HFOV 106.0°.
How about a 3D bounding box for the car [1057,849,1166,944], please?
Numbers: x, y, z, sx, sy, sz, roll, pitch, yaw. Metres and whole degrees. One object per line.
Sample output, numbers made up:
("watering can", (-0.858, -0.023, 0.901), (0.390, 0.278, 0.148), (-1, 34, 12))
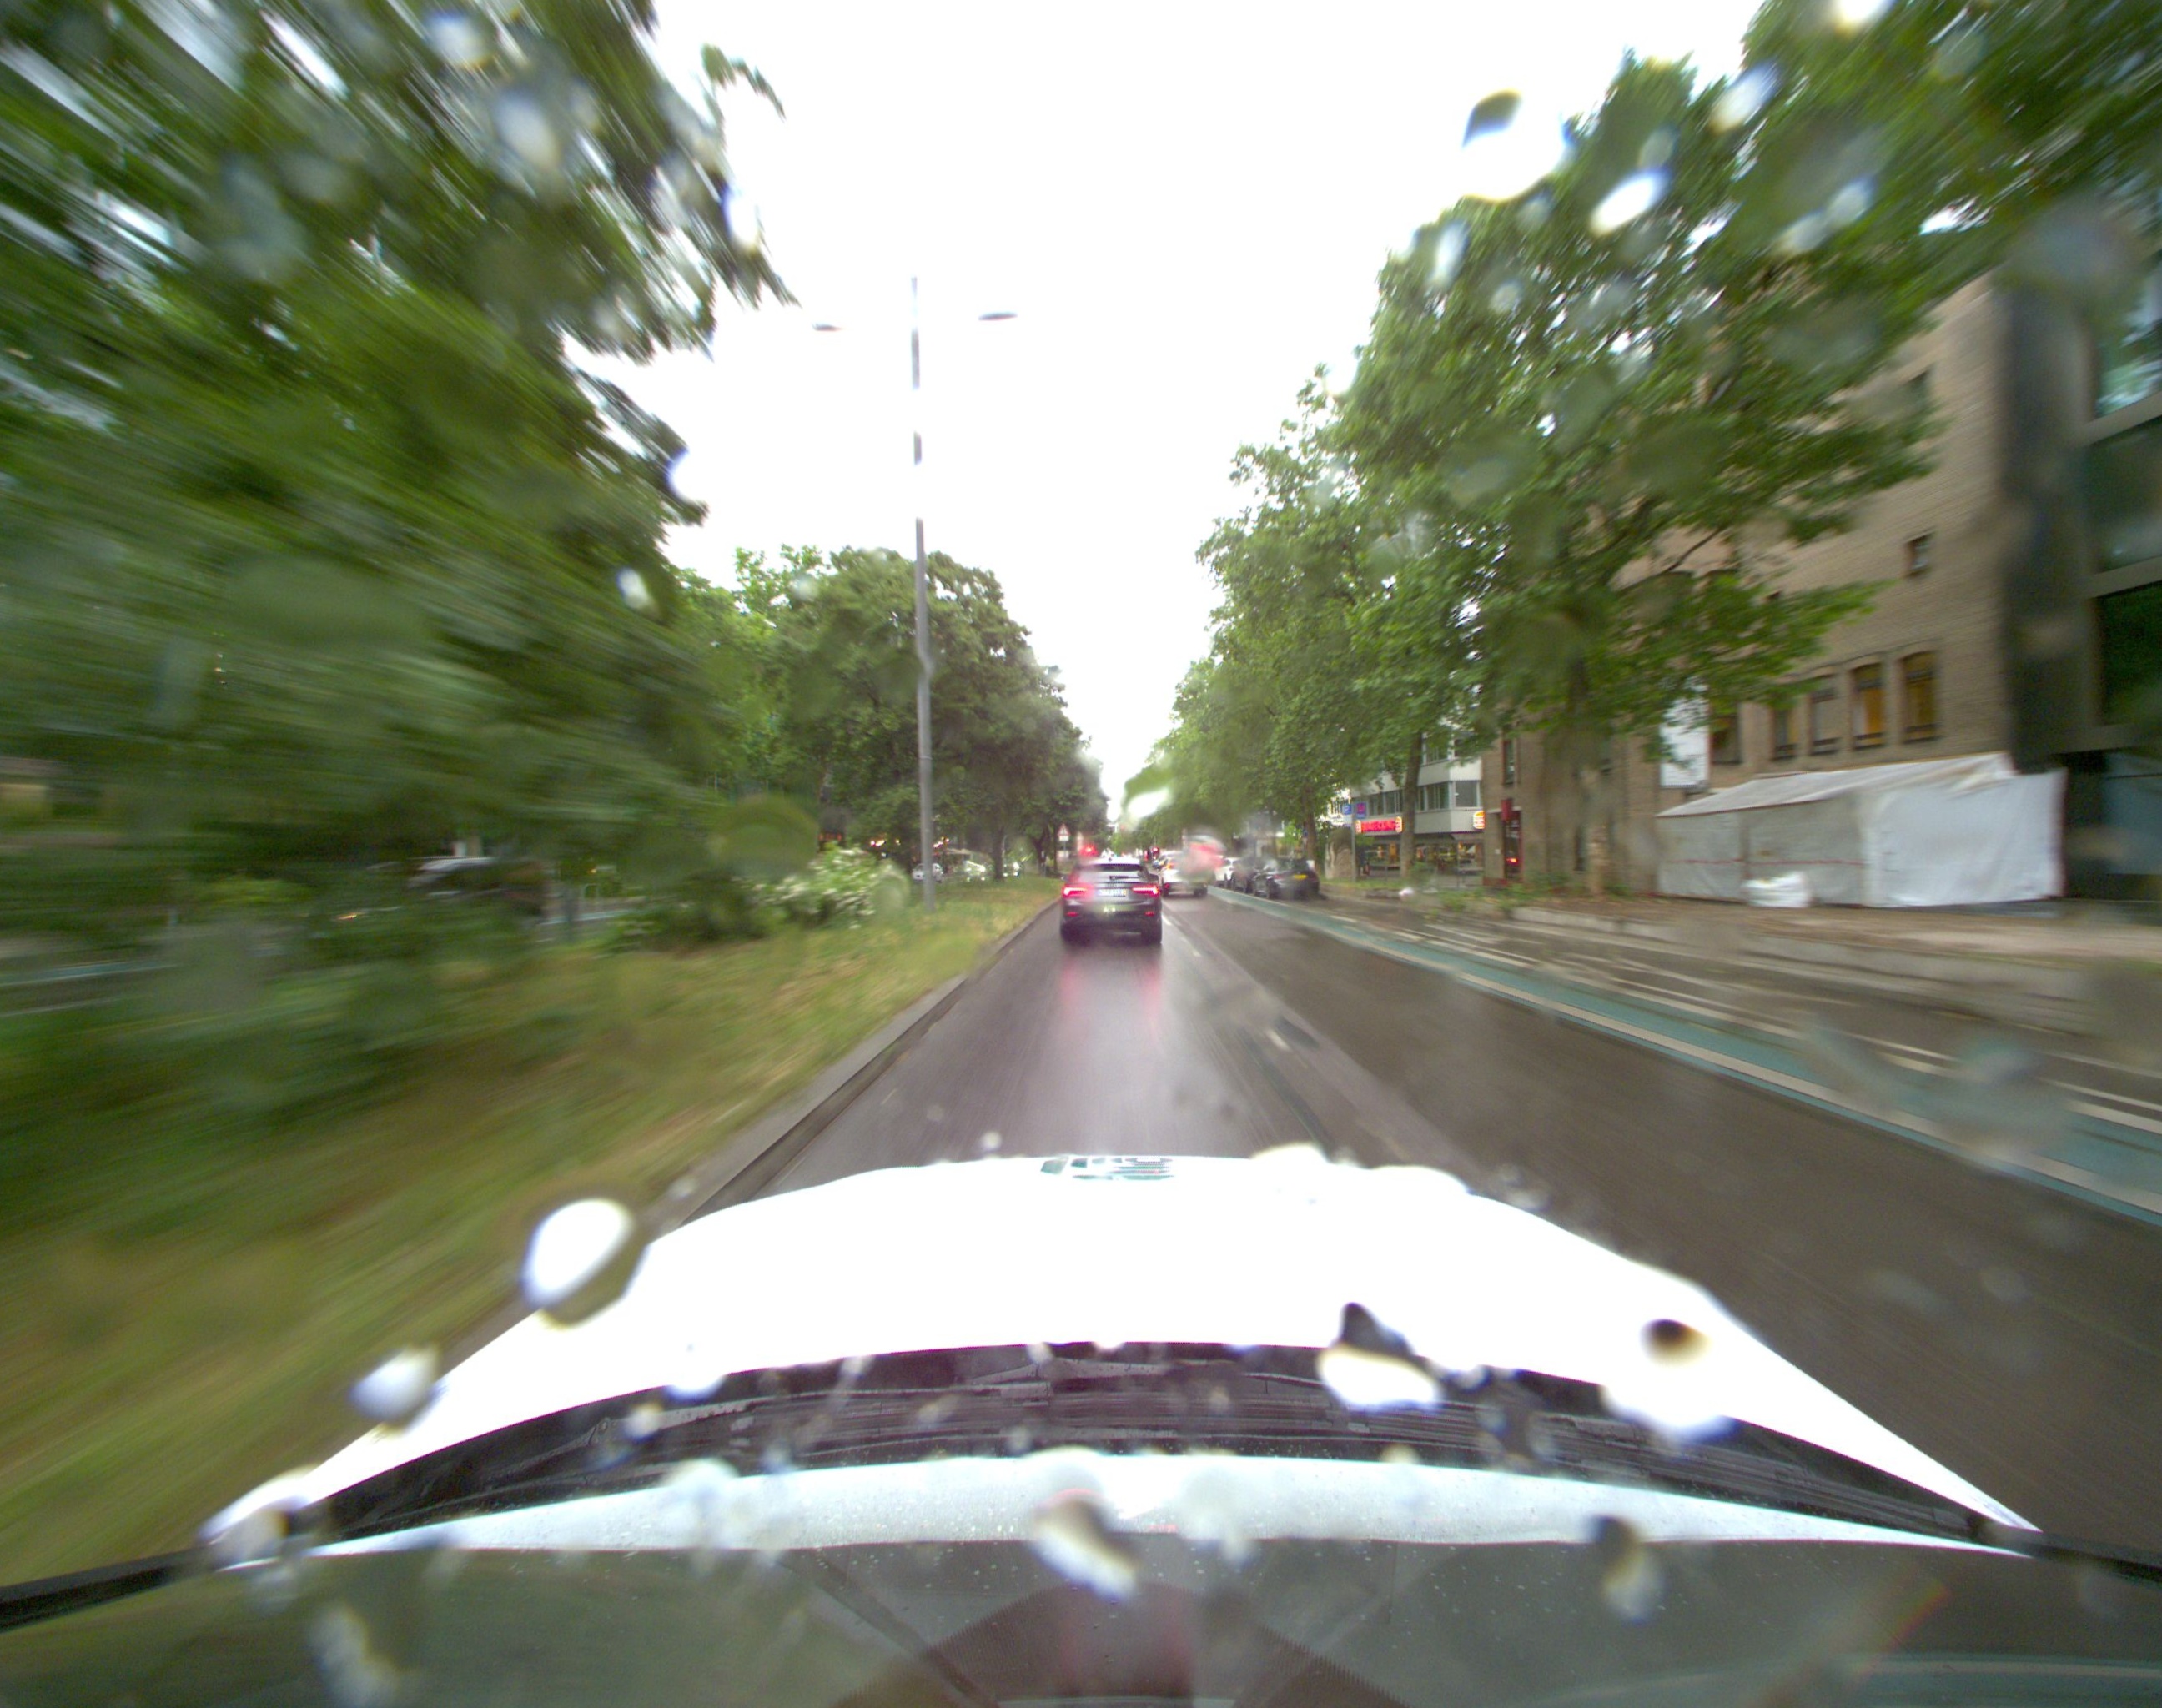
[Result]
("car", (0.546, 0.731, 15.829), (1.843, 1.602, 4.000), (0, -1, 1))

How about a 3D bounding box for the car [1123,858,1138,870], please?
("car", (6.896, 1.363, 114.822), (1.986, 1.651, 4.001), (1, -1, 2))

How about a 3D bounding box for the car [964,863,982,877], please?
("car", (-10.641, 1.573, 80.590), (1.687, 1.258, 3.636), (1, -1, -6))

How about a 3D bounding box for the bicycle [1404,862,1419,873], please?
("bicycle", (25.454, 1.015, 62.708), (0.446, 0.836, 2.027), (1, -1, 2))

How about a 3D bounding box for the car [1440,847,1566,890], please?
("car", (11.263, 0.370, 21.752), (2.856, 1.074, 1.465), (0, -1, 32))

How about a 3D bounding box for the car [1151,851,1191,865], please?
("car", (11.555, 0.532, 104.346), (4.594, 1.706, 2.012), (0, -1, 29))

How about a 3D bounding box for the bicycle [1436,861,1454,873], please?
("bicycle", (25.475, 0.922, 57.062), (0.446, 0.836, 2.027), (1, -1, 2))

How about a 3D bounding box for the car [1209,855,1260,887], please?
("car", (8.004, 0.870, 42.781), (1.723, 1.571, 4.069), (1, -1, -3))

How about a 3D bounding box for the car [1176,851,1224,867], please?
("car", (12.627, 0.527, 86.524), (4.594, 1.706, 2.012), (0, -1, 29))

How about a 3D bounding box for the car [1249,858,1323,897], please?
("car", (8.009, 0.882, 32.265), (1.866, 1.421, 4.612), (1, -1, 1))

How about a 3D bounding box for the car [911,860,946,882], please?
("car", (-10.835, 1.209, 58.027), (1.642, 1.435, 3.814), (-1, -1, 3))

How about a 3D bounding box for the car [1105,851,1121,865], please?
("car", (4.215, 0.576, 106.651), (1.986, 1.727, 4.000), (1, -1, 1))

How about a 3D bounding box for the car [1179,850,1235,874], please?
("car", (11.305, 0.721, 73.188), (4.548, 2.014, 1.980), (0, -1, 40))

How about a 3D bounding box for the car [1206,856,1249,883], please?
("car", (8.539, 0.907, 47.759), (1.691, 1.523, 4.021), (1, -1, -1))

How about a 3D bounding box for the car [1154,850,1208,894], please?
("car", (4.088, 0.722, 33.907), (1.871, 1.697, 4.001), (1, -1, 2))

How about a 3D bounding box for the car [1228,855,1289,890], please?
("car", (8.220, 0.835, 38.084), (1.861, 1.520, 4.558), (1, -1, 0))

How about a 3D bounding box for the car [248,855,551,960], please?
("car", (-13.208, 0.922, 16.295), (1.906, 1.756, 4.679), (1, 0, 3))

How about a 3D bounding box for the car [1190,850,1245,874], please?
("car", (13.149, 0.755, 78.752), (4.834, 2.254, 2.012), (0, -1, 30))

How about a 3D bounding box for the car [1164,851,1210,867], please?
("car", (11.790, 0.555, 90.415), (4.594, 1.706, 2.012), (0, -1, 29))
